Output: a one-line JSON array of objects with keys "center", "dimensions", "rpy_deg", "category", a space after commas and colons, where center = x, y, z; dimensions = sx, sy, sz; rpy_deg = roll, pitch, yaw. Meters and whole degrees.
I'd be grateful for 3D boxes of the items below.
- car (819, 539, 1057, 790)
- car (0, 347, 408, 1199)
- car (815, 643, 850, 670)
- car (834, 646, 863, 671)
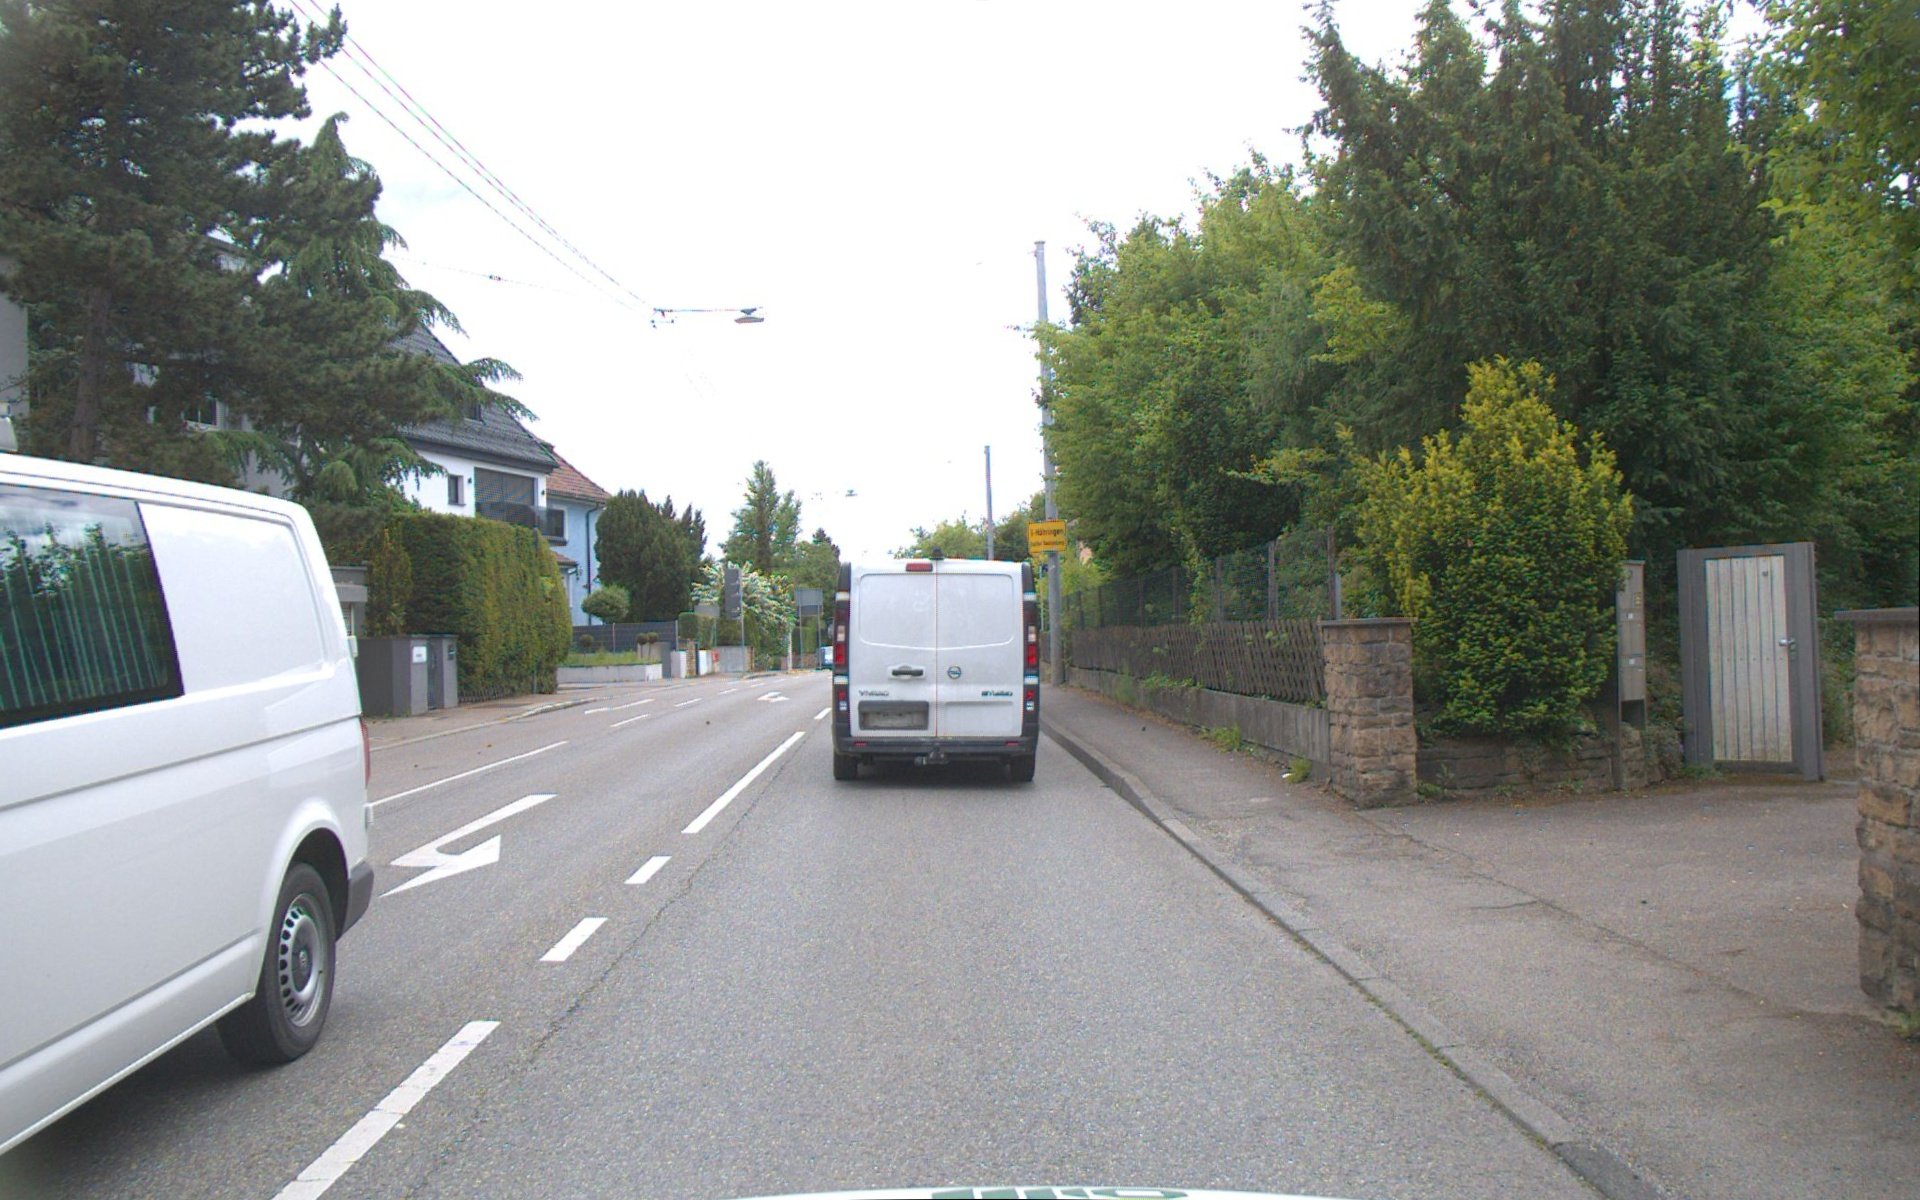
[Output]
[{"center": [-0.240, 0.570, 16.263], "dimensions": [1.965, 2.074, 5.008], "rpy_deg": [0, -1, -2], "category": "car"}, {"center": [-2.999, 0.516, 3.773], "dimensions": [1.821, 2.083, 5.169], "rpy_deg": [-2, -1, -2], "category": "car"}, {"center": [-7.657, 3.412, 99.693], "dimensions": [1.773, 1.481, 4.411], "rpy_deg": [-4, -2, -2], "category": "car"}, {"center": [-7.706, 4.044, 114.503], "dimensions": [1.645, 1.583, 3.970], "rpy_deg": [-3, -2, -1], "category": "car"}]
